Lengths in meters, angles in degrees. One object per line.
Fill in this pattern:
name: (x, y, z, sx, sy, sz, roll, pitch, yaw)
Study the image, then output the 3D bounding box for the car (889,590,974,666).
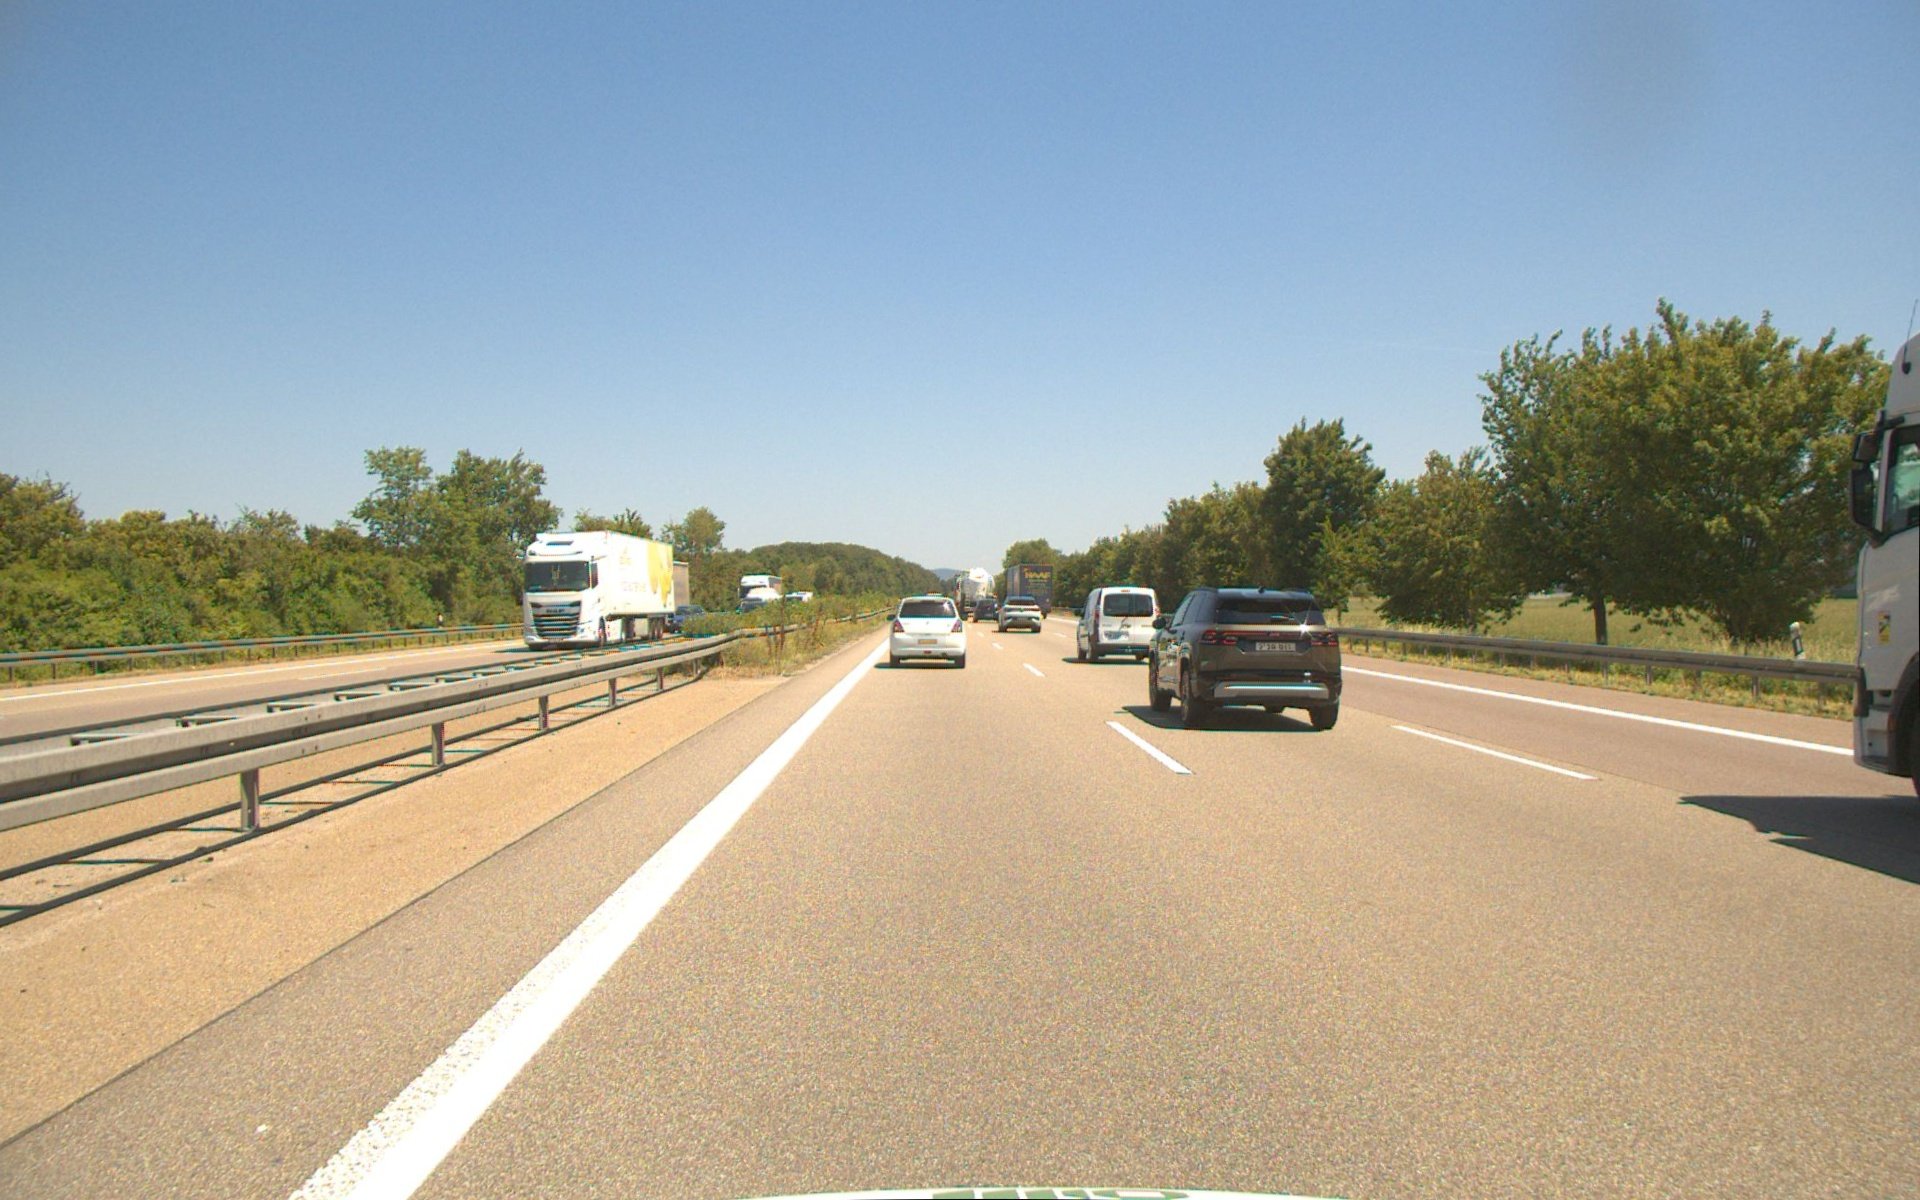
car: (-0.647, 0.594, 36.748, 1.763, 1.579, 3.609, 1, 0, -2)

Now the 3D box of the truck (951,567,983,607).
truck: (0.748, -1.373, 182.640, 3.325, 4.287, 12.082, 1, 0, 0)

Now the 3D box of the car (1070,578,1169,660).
car: (3.912, 0.445, 41.219, 1.816, 1.895, 4.700, 1, 0, -2)

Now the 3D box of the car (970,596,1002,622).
car: (1.550, 0.555, 101.598, 1.813, 1.549, 3.956, 1, 0, -1)

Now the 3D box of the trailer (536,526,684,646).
trailer: (-13.628, -0.516, 65.932, 2.684, 4.156, 14.346, -2, 0, 0)

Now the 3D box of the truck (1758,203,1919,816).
truck: (8.227, -0.636, 10.531, 2.752, 4.380, 7.192, 1, 0, 0)

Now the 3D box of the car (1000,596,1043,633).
car: (2.804, 0.648, 76.223, 1.766, 1.631, 4.380, 1, 0, -1)

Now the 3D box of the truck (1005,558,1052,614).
truck: (5.373, -1.043, 131.926, 3.045, 4.211, 15.510, 1, 0, 0)

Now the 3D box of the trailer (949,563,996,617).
trailer: (0.922, -0.784, 136.263, 2.854, 4.140, 12.407, 1, 0, -4)

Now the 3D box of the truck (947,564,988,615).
truck: (0.600, -0.847, 140.643, 2.854, 4.150, 7.189, 1, 0, -4)

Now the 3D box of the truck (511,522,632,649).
truck: (-13.663, -0.503, 58.633, 2.684, 4.156, 6.217, -2, 0, 0)

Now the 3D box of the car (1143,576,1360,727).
car: (3.609, 0.593, 21.347, 1.829, 1.704, 4.744, 1, 0, -1)

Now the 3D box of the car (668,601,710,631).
car: (-14.036, 0.815, 85.941, 1.540, 1.410, 3.966, -3, 0, -1)
